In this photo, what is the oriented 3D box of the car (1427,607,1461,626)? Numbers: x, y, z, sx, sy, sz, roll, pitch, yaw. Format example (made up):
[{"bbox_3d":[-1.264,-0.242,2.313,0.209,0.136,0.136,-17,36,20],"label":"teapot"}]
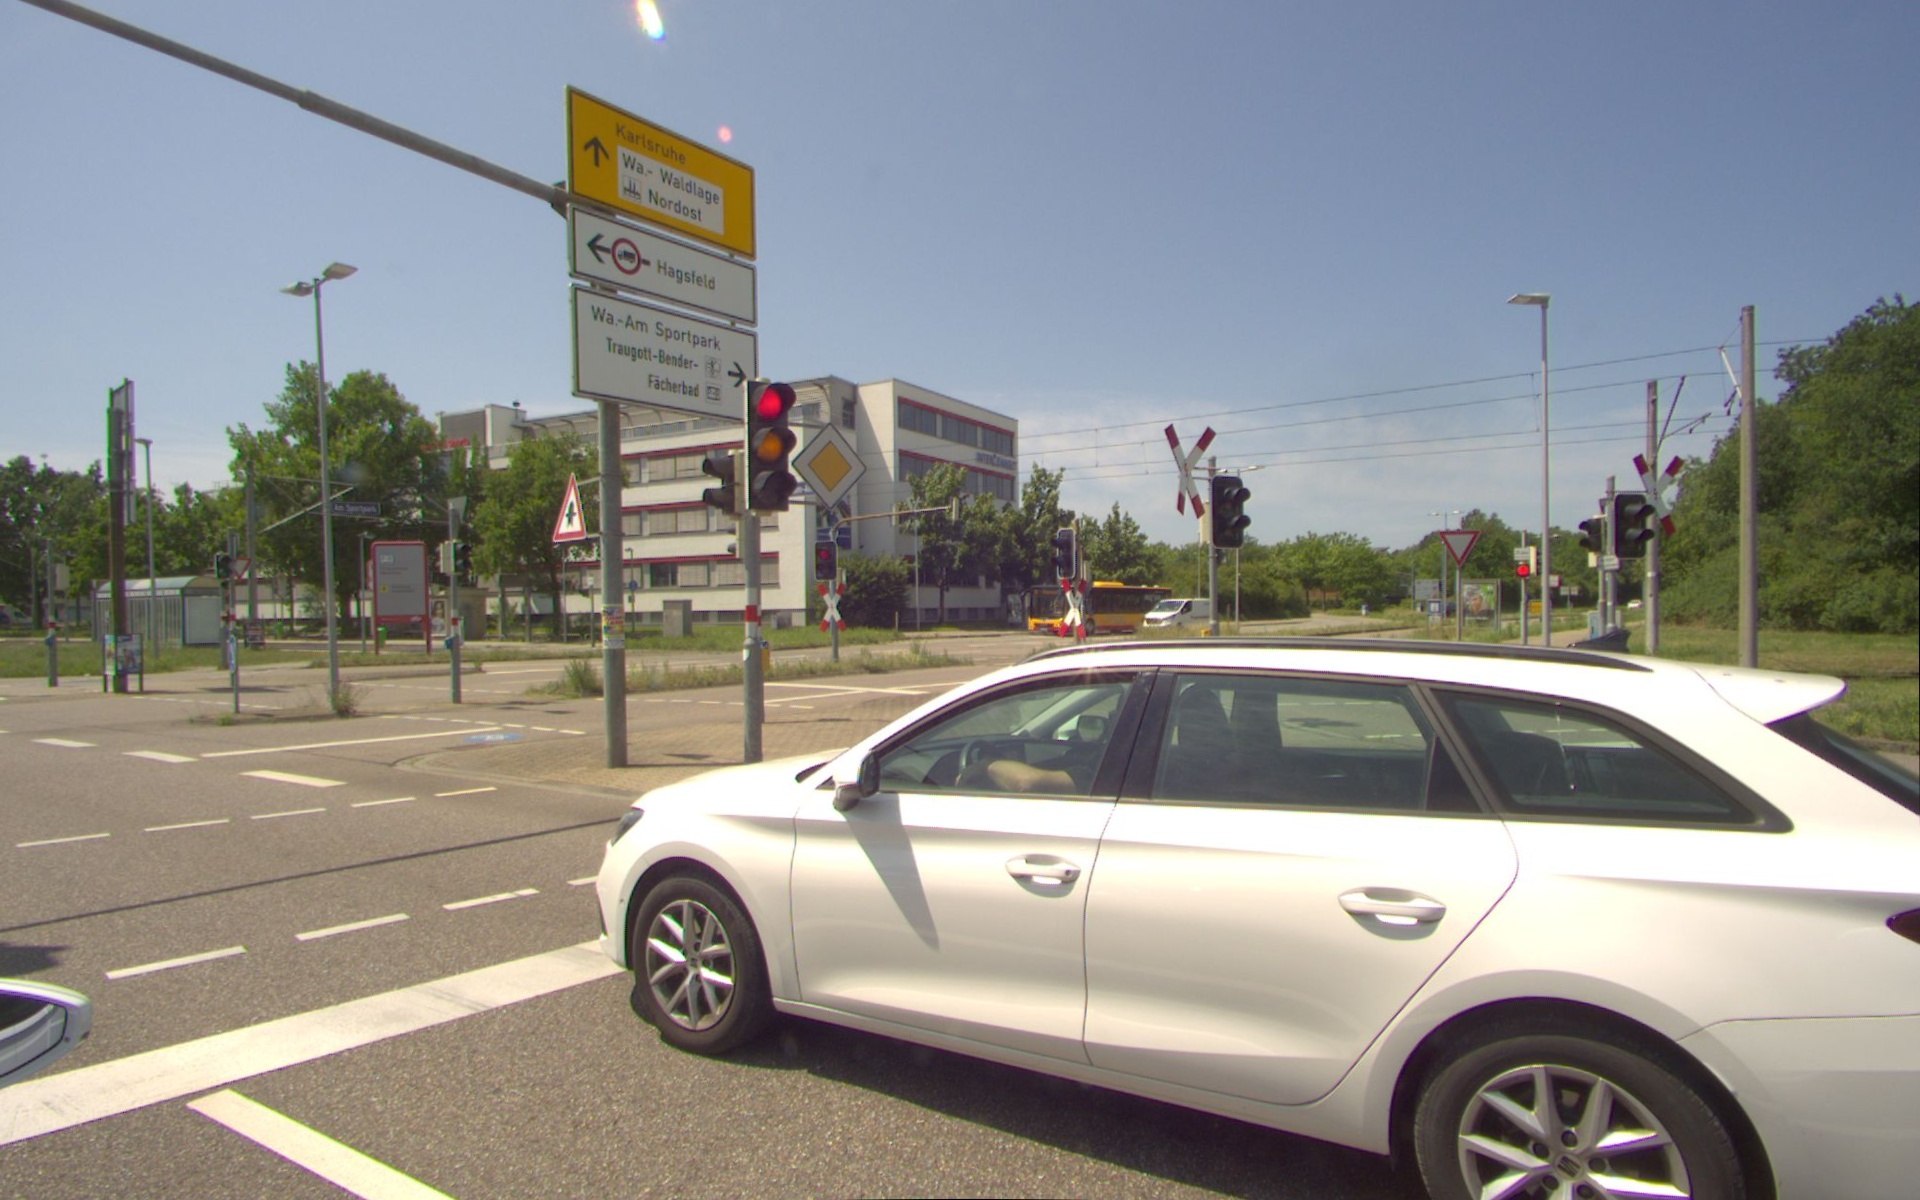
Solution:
[{"bbox_3d":[42.837,1.464,88.613,1.655,1.601,3.967,1,0,42],"label":"car"}]

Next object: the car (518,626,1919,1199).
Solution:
[{"bbox_3d":[0.601,0.811,3.485,4.384,1.408,1.680,-1,-1,30],"label":"car"}]

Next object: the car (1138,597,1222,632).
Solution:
[{"bbox_3d":[11.721,0.813,53.186,5.021,1.750,1.811,2,-2,-43],"label":"car"}]

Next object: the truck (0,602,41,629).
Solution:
[{"bbox_3d":[-104.756,1.741,109.431,2.283,2.881,5.837,-1,1,26],"label":"truck"}]

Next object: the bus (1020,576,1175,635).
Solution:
[{"bbox_3d":[8.392,0.421,59.233,2.808,3.159,11.977,-2,-2,42],"label":"bus"}]
